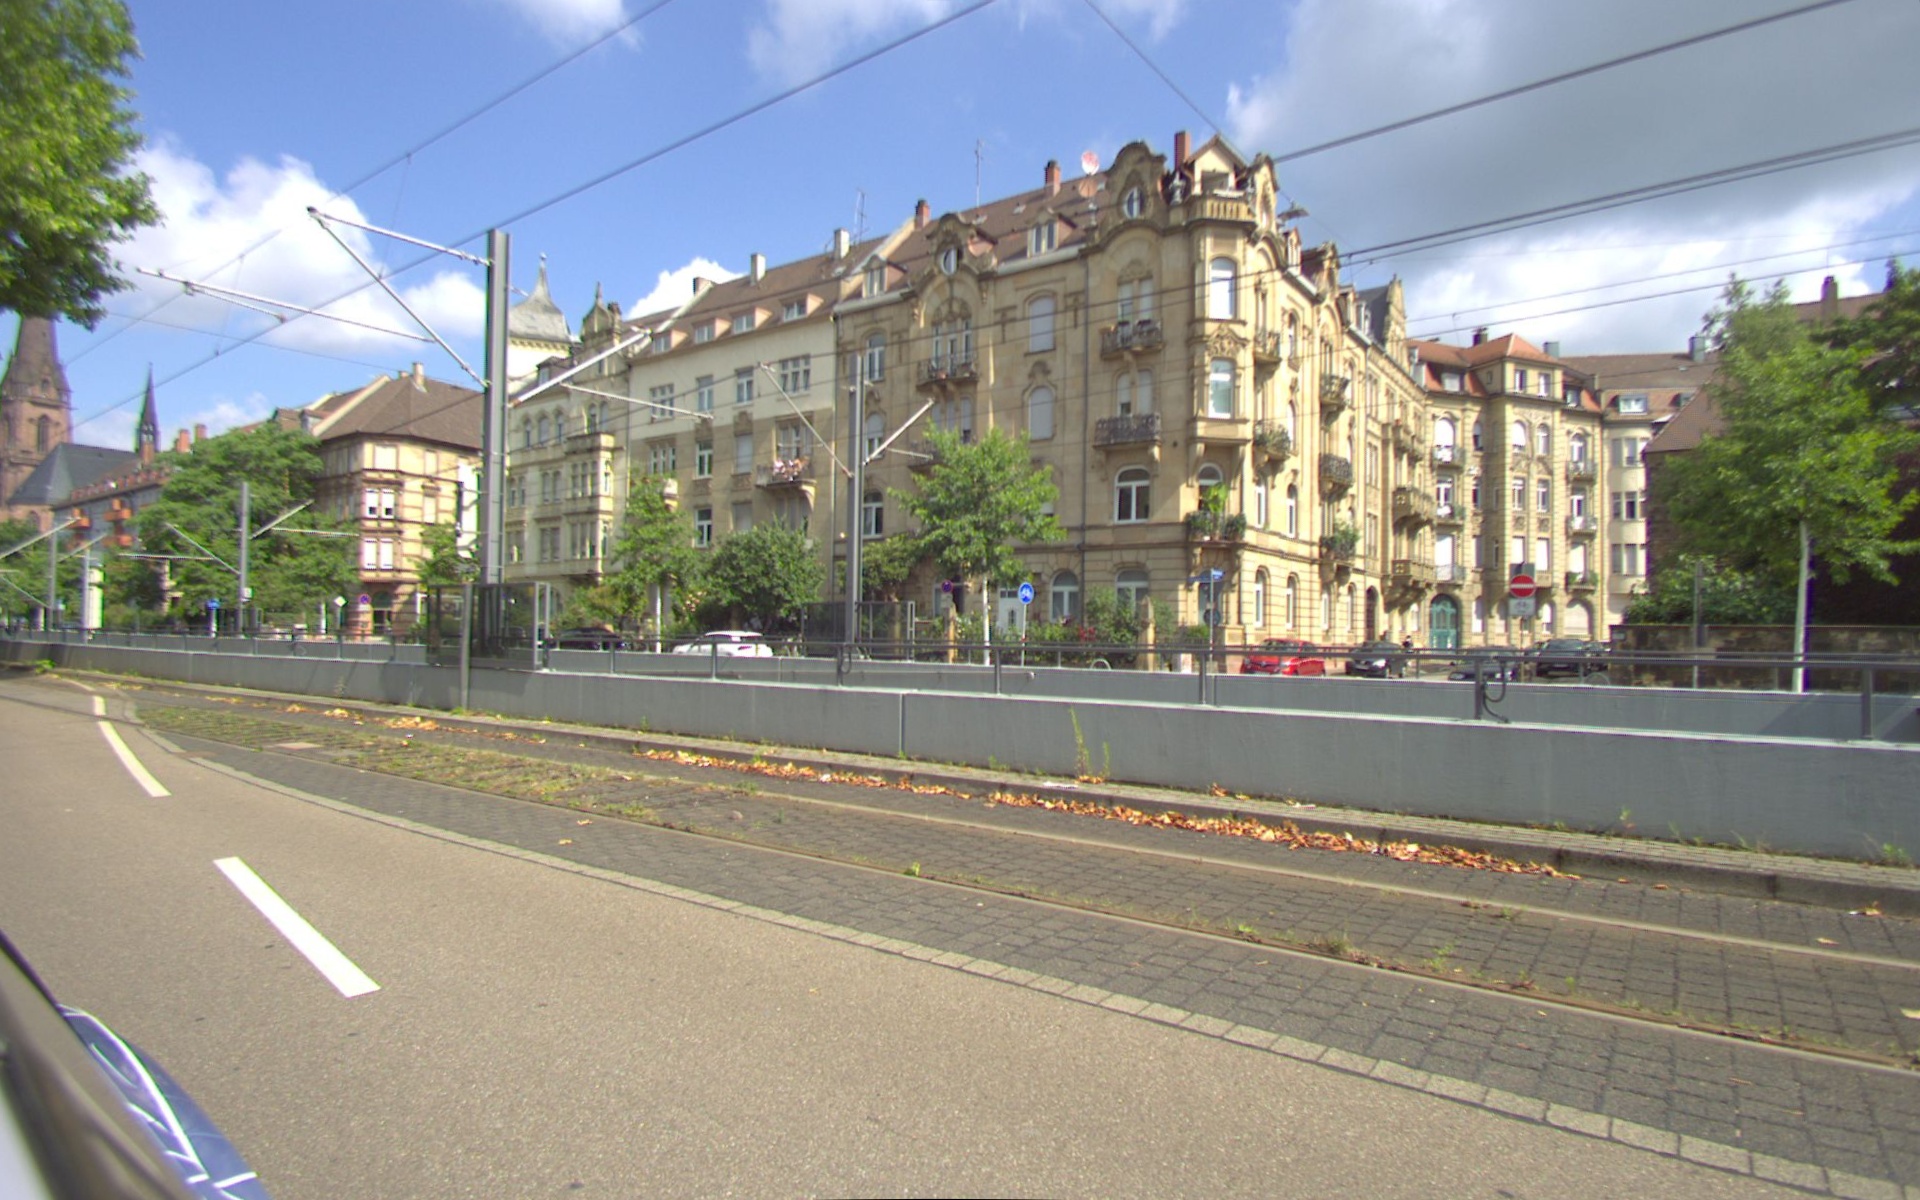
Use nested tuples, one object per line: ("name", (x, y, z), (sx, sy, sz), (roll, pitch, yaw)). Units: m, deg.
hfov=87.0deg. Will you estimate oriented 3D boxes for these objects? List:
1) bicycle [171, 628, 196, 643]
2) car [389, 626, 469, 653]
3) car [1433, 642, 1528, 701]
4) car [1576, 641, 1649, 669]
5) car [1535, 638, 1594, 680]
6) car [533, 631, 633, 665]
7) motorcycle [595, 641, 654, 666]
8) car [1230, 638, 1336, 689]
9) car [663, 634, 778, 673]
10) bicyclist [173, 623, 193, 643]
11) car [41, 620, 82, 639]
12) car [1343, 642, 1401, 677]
("bicycle", (-52.286, 2.397, 68.121), (2.137, 0.986, 0.768), (-1, -4, 37))
("car", (-32.879, 2.451, 62.732), (2.027, 1.618, 3.925), (0, -2, 28))
("car", (14.417, 1.931, 27.933), (1.720, 1.475, 3.926), (-1, -3, 37))
("car", (41.031, 3.465, 63.661), (3.727, 1.683, 1.939), (1, -2, -19))
("car", (26.056, 2.503, 43.569), (1.928, 1.683, 3.747), (-1, -3, 35))
("car", (-16.056, 2.022, 43.026), (4.090, 1.337, 2.002), (-1, -3, 35))
("motorcycle", (-13.667, 2.193, 41.236), (1.415, 0.949, 1.745), (-1, -4, 35))
("car", (10.218, 1.967, 31.877), (1.931, 1.475, 3.742), (-1, -3, 39))
("car", (-8.934, 1.972, 37.673), (4.302, 1.338, 1.736), (-1, -3, 35))
("bicyclist", (-52.365, 2.211, 68.189), (1.047, 1.348, 0.760), (-1, -4, 37))
("car", (-81.121, 2.660, 91.356), (4.106, 1.650, 1.975), (-1, -3, 37))
("car", (16.606, 2.374, 40.716), (1.500, 1.323, 3.201), (-1, -3, 35))
